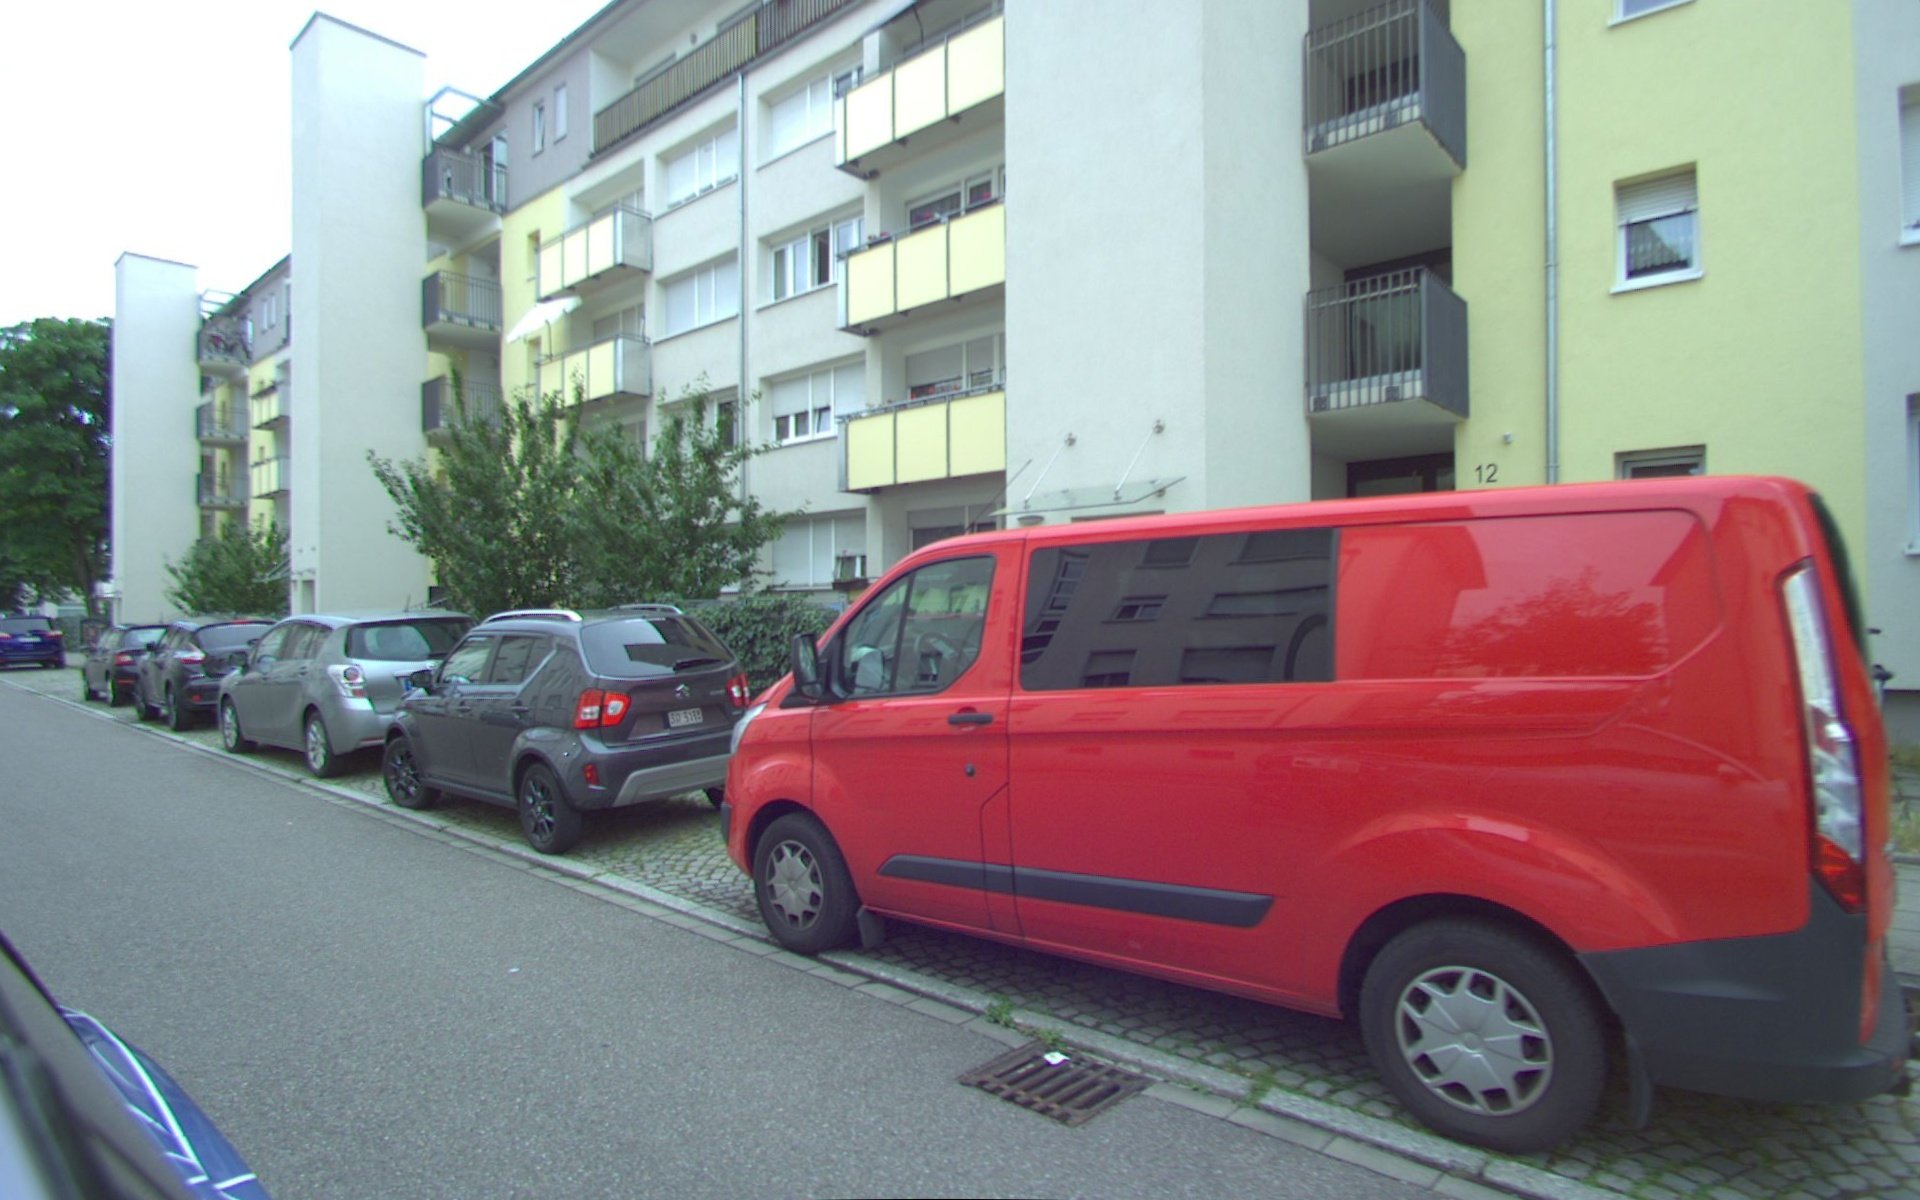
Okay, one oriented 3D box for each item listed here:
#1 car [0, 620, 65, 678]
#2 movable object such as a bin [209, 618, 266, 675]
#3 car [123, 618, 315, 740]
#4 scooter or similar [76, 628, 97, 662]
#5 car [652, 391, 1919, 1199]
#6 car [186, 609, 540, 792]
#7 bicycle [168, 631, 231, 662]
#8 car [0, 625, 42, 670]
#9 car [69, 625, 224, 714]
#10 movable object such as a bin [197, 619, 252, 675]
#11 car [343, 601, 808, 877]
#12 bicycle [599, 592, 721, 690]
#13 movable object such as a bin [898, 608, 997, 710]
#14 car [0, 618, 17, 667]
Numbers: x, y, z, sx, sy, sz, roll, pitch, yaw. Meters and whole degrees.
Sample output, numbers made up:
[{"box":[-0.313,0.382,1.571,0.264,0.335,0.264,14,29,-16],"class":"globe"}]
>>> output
[{"box":[-29.033,1.474,31.079,4.470,1.639,1.781,-2,0,41],"class":"car"},{"box":[-19.547,1.244,27.372,1.314,1.458,0.991,-1,0,42],"class":"movable object such as a bin"},{"box":[-11.290,1.090,15.323,3.895,1.541,1.635,-1,1,43],"class":"car"},{"box":[-32.580,1.679,37.755,1.135,1.253,0.432,-2,-2,41],"class":"scooter or similar"},{"box":[1.003,0.541,4.511,4.916,1.968,2.130,-1,1,39],"class":"car"},{"box":[-6.838,0.961,11.352,4.856,1.582,1.817,-1,1,39],"class":"car"},{"box":[-29.209,1.764,38.893,0.716,1.146,1.834,-2,-2,38],"class":"bicycle"},{"box":[-33.351,1.636,35.111,3.813,1.456,1.605,-2,0,38],"class":"car"},{"box":[-15.419,1.236,19.117,3.855,1.449,1.626,-1,1,41],"class":"car"},{"box":[-20.598,1.301,28.349,1.314,1.512,0.991,-1,0,42],"class":"movable object such as a bin"},{"box":[-3.189,0.863,7.985,4.052,1.582,1.703,-1,1,41],"class":"car"},{"box":[-3.875,0.517,13.030,1.723,1.201,0.547,-1,-2,34],"class":"bicycle"},{"box":[-0.167,0.789,13.909,1.036,1.334,0.883,-2,-2,40],"class":"movable object such as a bin"},{"box":[-38.223,1.652,39.273,4.782,1.869,1.867,-2,-1,40],"class":"car"}]
